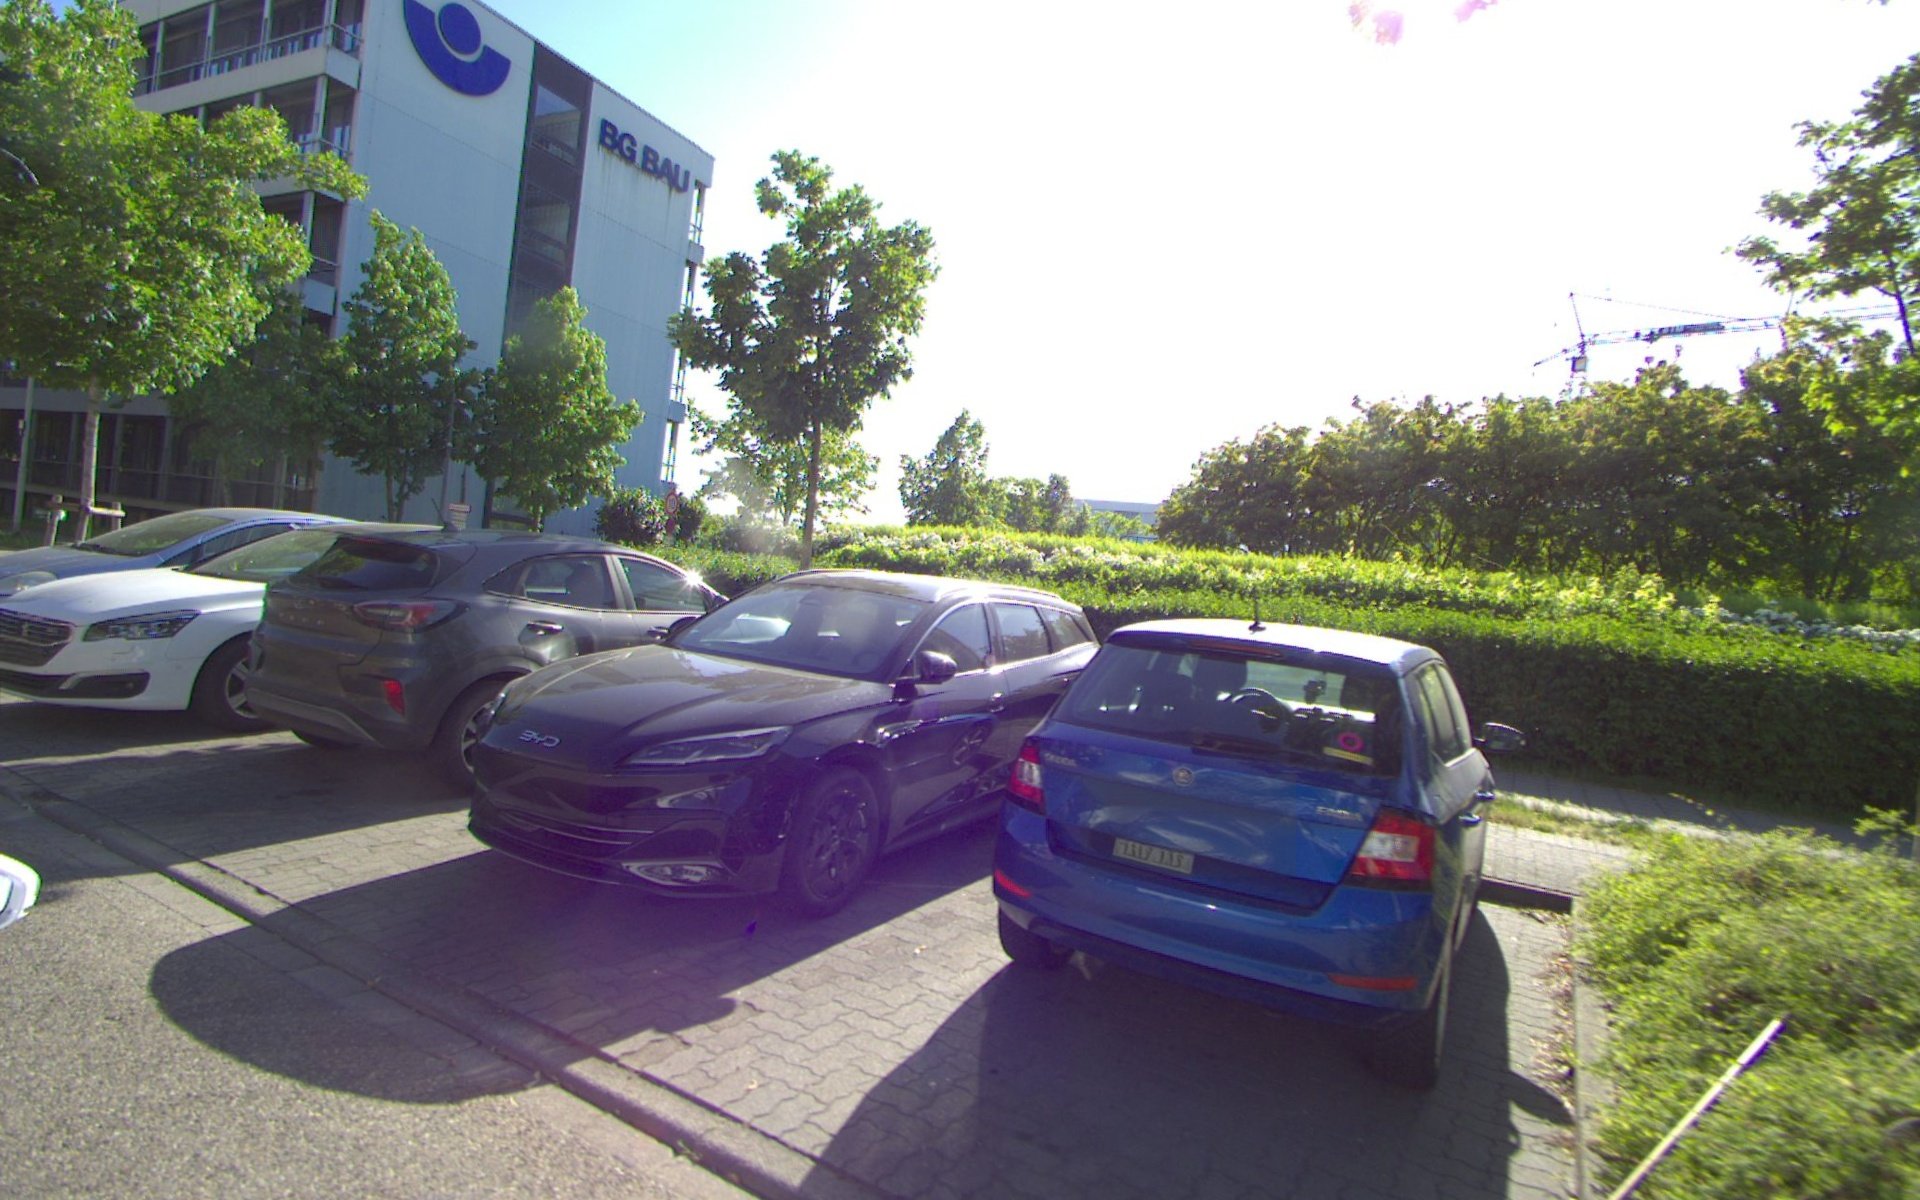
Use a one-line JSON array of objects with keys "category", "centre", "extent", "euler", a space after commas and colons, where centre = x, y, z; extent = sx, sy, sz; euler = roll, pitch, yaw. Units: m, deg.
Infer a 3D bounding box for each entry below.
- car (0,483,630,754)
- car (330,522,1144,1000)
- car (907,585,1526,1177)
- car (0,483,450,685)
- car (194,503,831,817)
[{"category": "car", "centre": [-5.104, 0.056, 8.278], "extent": [1.946, 1.535, 4.557], "euler": [6, 2, 23]}, {"category": "car", "centre": [-0.741, 0.552, 5.931], "extent": [2.122, 1.535, 4.551], "euler": [6, 2, 29]}, {"category": "car", "centre": [1.560, 0.745, 4.753], "extent": [1.715, 1.469, 3.803], "euler": [6, 4, 31]}, {"category": "car", "centre": [-7.272, -0.179, 9.742], "extent": [1.671, 1.535, 3.954], "euler": [6, 2, 23]}, {"category": "car", "centre": [-2.834, 0.300, 7.242], "extent": [1.721, 1.535, 3.877], "euler": [6, 2, 29]}]
